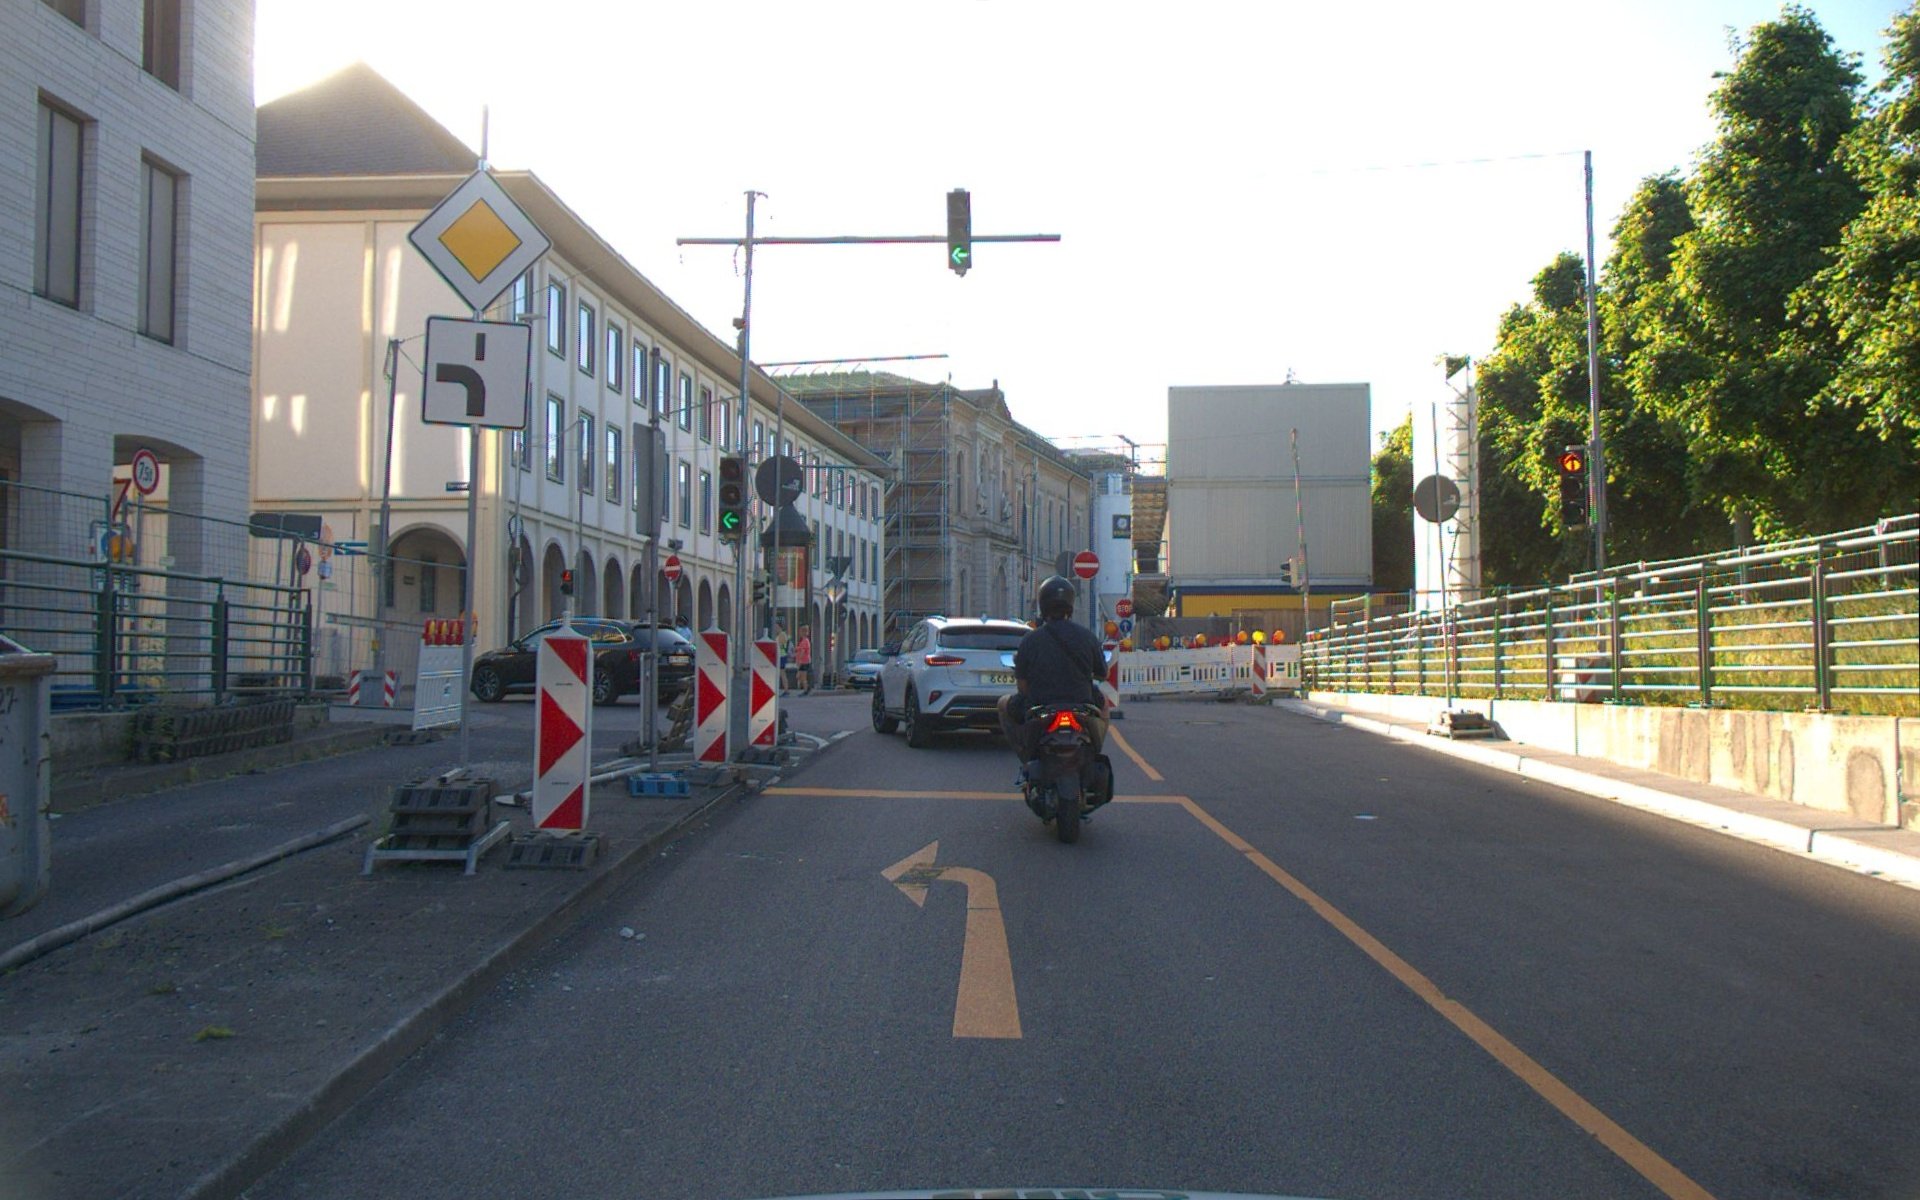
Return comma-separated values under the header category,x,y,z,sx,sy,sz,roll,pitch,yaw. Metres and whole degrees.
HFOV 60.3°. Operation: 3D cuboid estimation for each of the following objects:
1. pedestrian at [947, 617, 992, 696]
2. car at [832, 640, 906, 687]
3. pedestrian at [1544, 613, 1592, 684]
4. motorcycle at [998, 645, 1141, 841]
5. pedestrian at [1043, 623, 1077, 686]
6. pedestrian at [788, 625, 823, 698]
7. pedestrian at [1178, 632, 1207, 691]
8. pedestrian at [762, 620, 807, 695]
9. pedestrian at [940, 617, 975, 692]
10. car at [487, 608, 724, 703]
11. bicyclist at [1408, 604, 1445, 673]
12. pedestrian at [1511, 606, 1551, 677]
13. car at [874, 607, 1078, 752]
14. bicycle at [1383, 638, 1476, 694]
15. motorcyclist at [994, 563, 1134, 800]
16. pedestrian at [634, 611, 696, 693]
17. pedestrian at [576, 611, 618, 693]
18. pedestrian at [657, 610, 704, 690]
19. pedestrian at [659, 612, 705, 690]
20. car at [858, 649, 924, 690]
category,x,y,z,sx,sy,sz,roll,pitch,yaw
pedestrian,0.227,1.305,38.090,0.954,1.759,0.798,-1,-3,3
car,-3.198,2.289,58.808,1.883,1.492,4.002,1,-4,8
pedestrian,13.926,1.107,37.906,0.734,1.593,0.660,0,-2,-27
motorcycle,0.722,0.941,11.781,0.887,1.204,2.579,0,-1,1
pedestrian,2.429,1.325,40.164,0.752,1.488,0.666,-2,-2,7
pedestrian,-3.565,1.417,38.143,0.709,1.652,0.620,0,0,3
pedestrian,5.353,1.408,38.117,0.605,1.322,0.494,2,-2,6
pedestrian,-4.156,1.359,39.144,0.944,1.739,0.676,0,0,3
pedestrian,-0.055,1.289,39.339,0.721,1.746,0.622,-2,-2,7
car,-6.316,0.974,29.365,4.018,1.577,1.775,-1,-2,31
bicyclist,10.455,0.866,37.096,0.687,1.543,0.686,0,-3,5
pedestrian,13.534,0.983,39.224,0.721,1.632,0.644,-2,-2,7
car,0.082,0.896,20.251,1.825,1.498,3.992,1,1,-9
bicycle,10.501,1.478,37.024,1.950,1.222,0.477,0,-3,6
motorcyclist,0.711,0.555,11.738,0.934,1.587,1.239,0,-1,1
pedestrian,-6.657,1.167,37.369,1.217,1.833,0.717,0,0,3
pedestrian,-8.261,1.171,37.696,0.757,1.833,0.711,0,0,3
pedestrian,-6.431,1.137,38.124,0.918,1.809,0.711,0,0,3
pedestrian,-6.512,1.187,38.810,0.918,1.809,0.711,0,0,3
car,-2.671,2.759,65.255,1.883,1.492,4.002,1,-4,8
